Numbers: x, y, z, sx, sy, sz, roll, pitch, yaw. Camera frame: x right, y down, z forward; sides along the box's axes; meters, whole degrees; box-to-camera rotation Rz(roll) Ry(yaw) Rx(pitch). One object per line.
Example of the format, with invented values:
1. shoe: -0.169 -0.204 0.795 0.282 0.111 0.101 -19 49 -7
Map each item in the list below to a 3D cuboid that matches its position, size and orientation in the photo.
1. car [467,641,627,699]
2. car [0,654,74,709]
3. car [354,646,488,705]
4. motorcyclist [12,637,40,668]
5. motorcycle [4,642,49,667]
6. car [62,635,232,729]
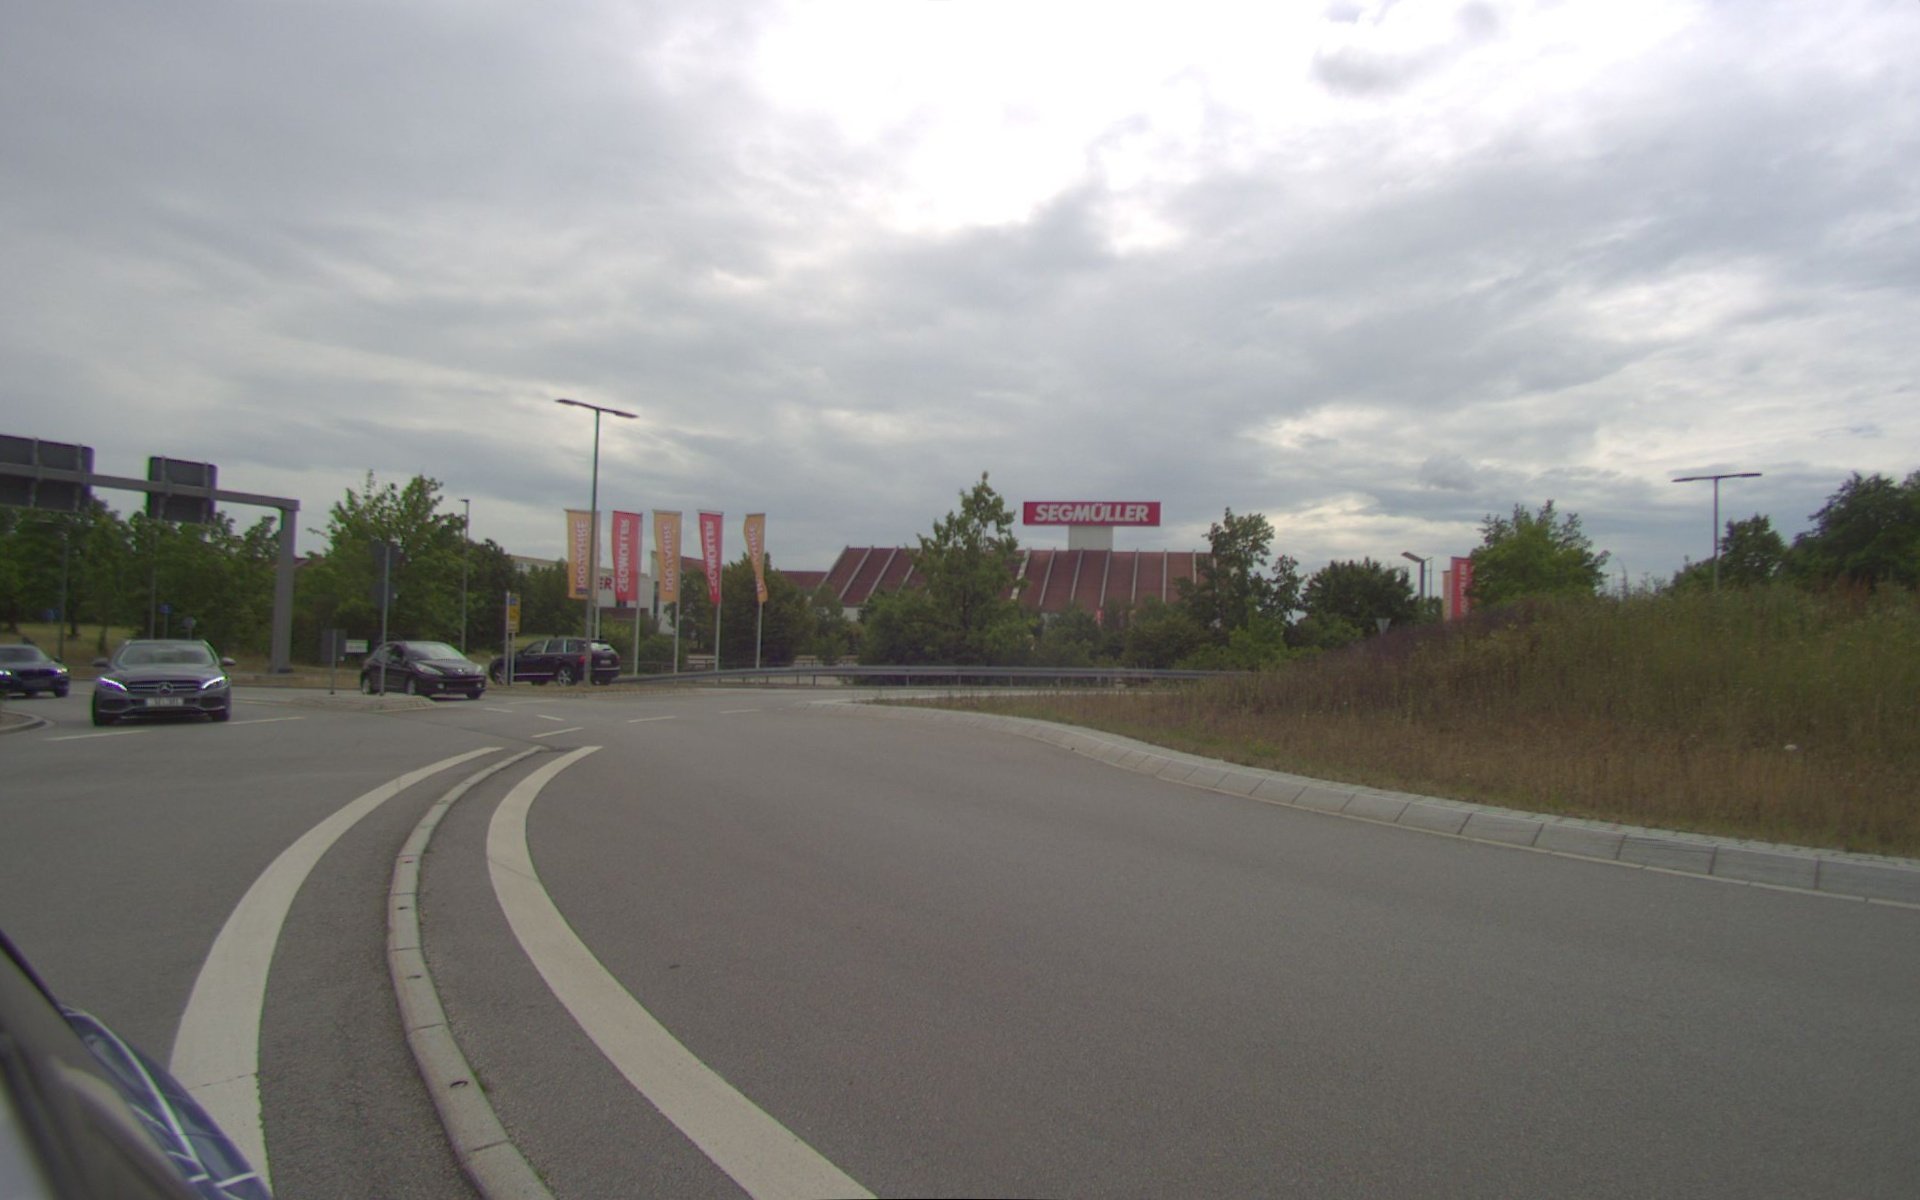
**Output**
1. car: -14.272 2.370 34.999 5.013 1.804 2.091 0 -2 20
2. car: -29.069 2.473 31.566 4.560 1.422 1.833 0 -2 45
3. car: -13.703 1.866 25.654 3.817 1.364 1.561 -2 -3 37
4. motorcyclist: -47.547 2.677 51.539 0.840 1.588 0.670 -2 -4 19
5. motorcycle: -47.526 2.768 51.509 2.232 1.239 0.699 -2 -4 19
6. car: -14.243 1.422 17.651 4.091 1.431 1.741 -5 -5 43
